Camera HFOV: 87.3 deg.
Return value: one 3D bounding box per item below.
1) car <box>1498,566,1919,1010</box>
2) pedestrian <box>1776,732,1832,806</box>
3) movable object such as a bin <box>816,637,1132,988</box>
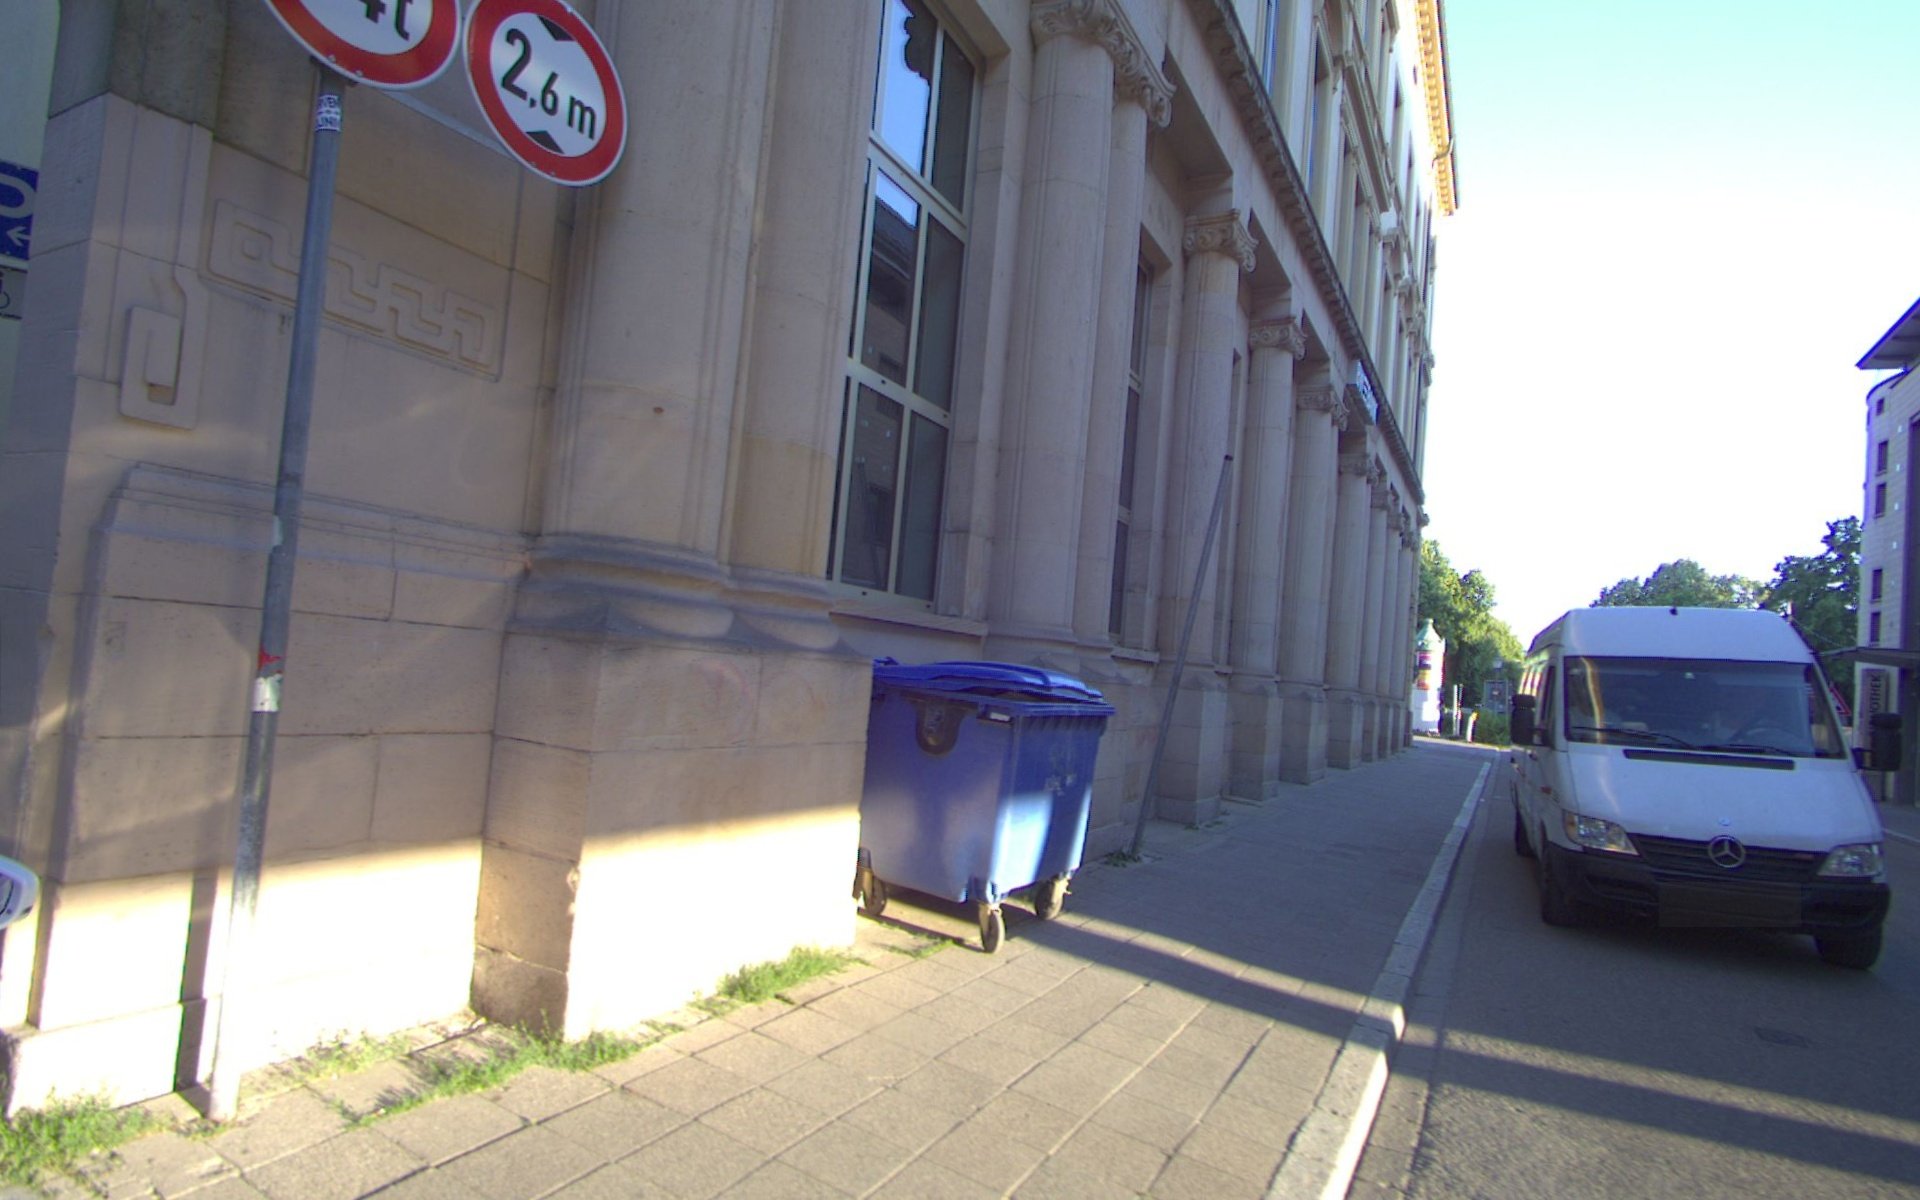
[{"bbox_3d":[6.209,1.372,9.097,1.967,2.539,6.470,2,-4,25],"label":"car"},{"bbox_3d":[21.681,4.320,25.864,0.911,1.721,0.867,4,-3,32],"label":"pedestrian"},{"bbox_3d":[0.110,1.042,5.377,1.060,1.491,1.185,6,-2,33],"label":"movable object such as a bin"}]
